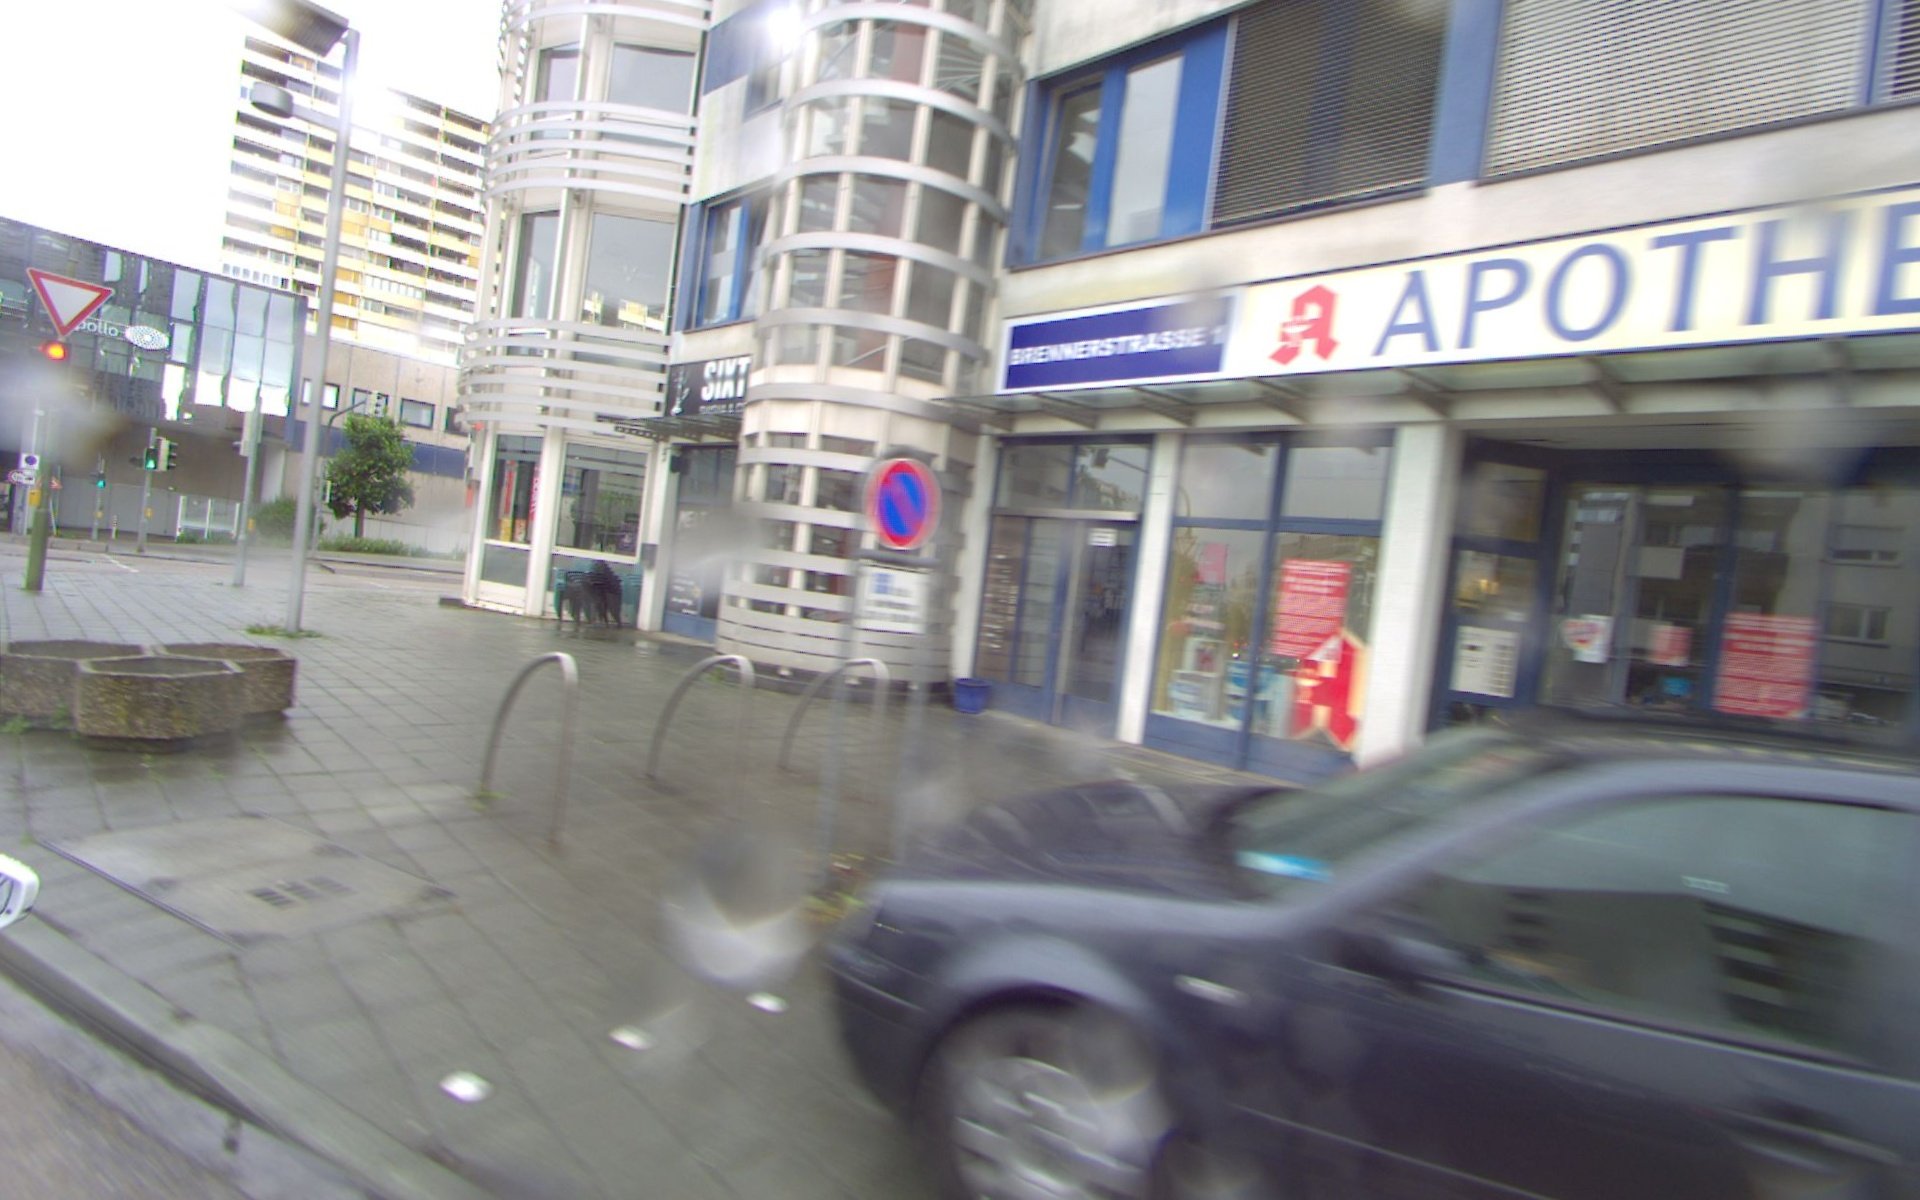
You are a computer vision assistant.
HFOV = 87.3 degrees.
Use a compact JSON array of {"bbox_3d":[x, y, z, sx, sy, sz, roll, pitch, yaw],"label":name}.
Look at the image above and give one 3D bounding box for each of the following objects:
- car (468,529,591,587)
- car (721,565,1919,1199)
[{"bbox_3d":[-17.083,-1.642,39.974,3.973,1.738,1.976,7,0,-42],"label":"car"},{"bbox_3d":[1.571,0.897,2.556,3.928,1.506,1.700,7,3,24],"label":"car"}]
